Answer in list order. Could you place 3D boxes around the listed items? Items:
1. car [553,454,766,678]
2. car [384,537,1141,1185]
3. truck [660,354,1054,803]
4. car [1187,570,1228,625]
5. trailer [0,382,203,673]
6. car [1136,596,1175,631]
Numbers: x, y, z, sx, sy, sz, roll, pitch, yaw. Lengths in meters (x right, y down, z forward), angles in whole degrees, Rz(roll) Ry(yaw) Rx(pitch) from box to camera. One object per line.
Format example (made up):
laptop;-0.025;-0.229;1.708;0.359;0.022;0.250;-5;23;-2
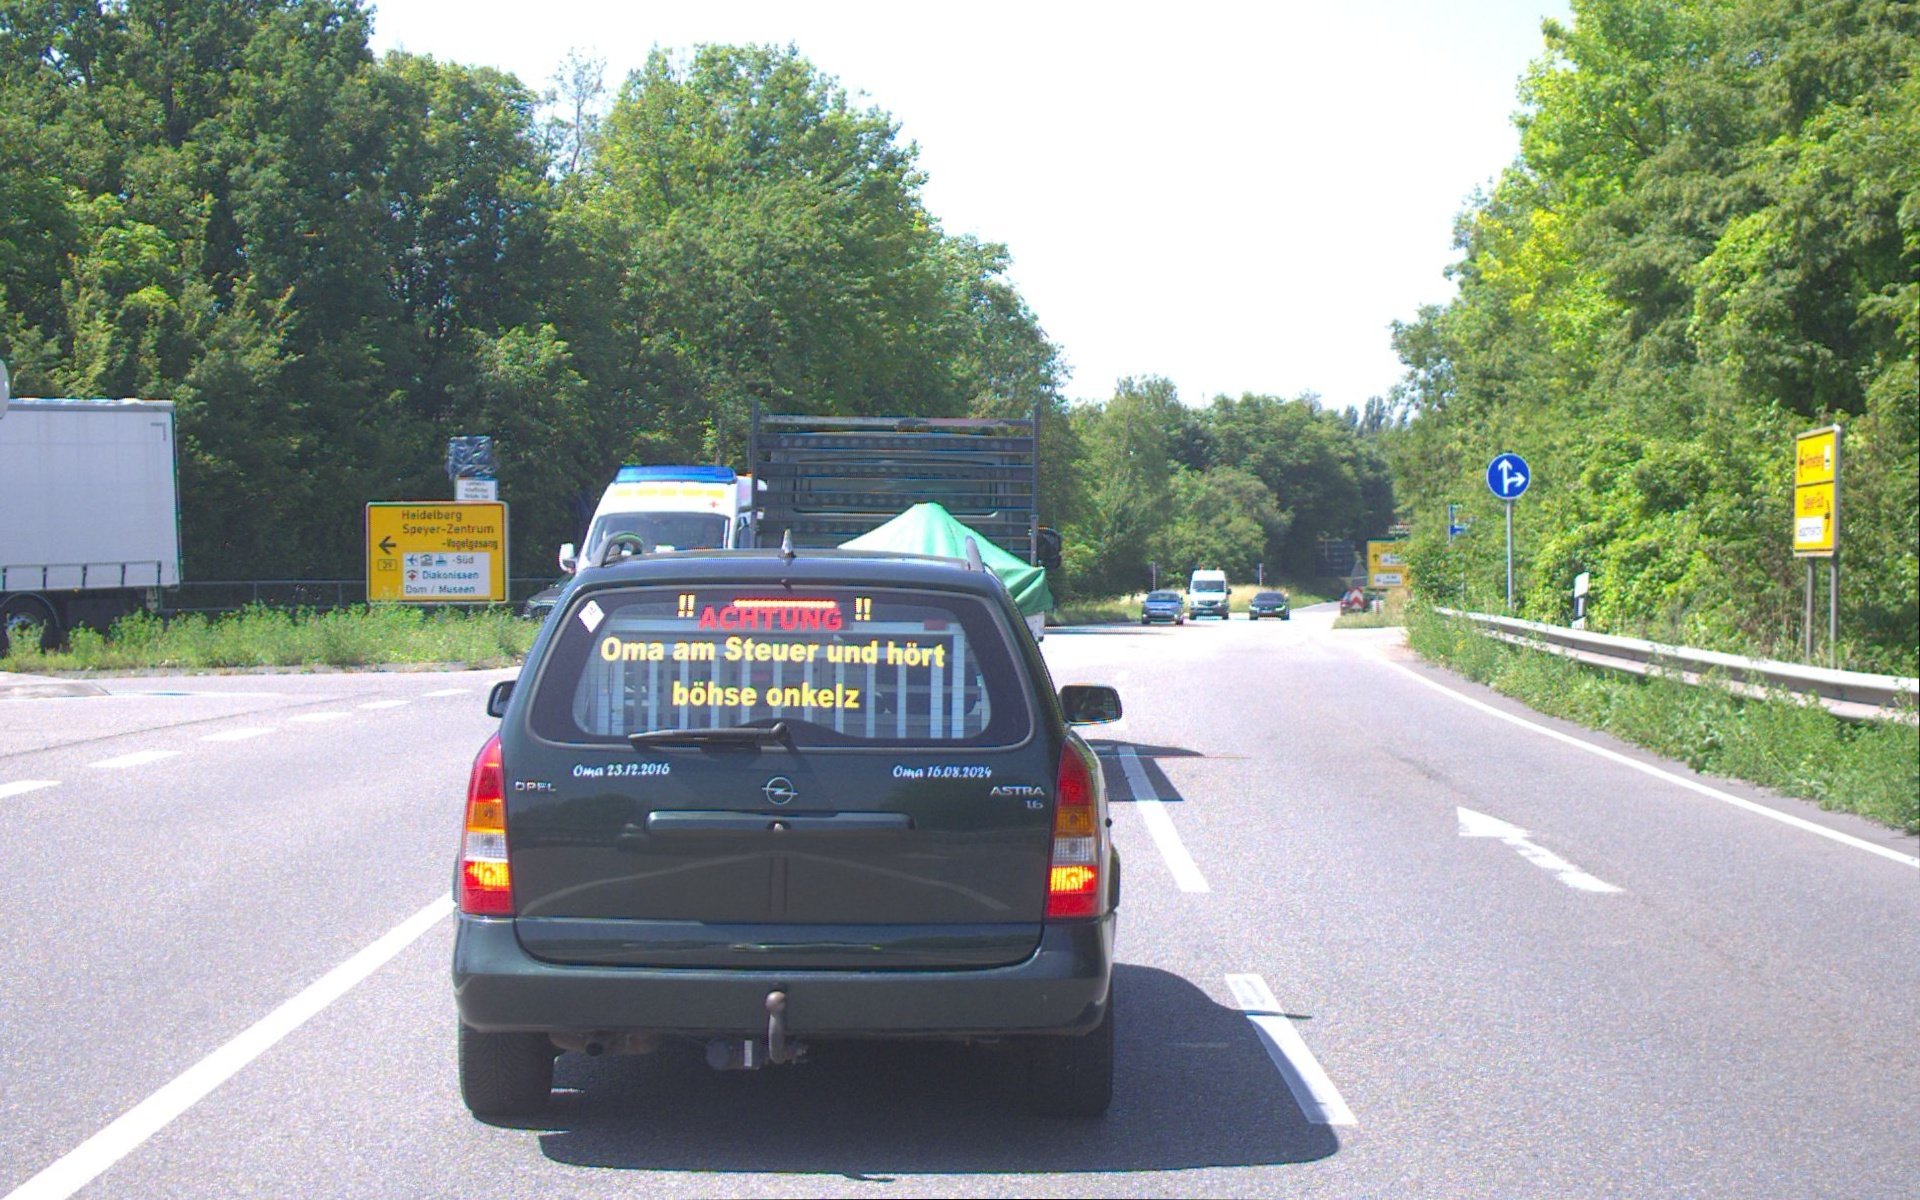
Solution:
car;-3.362;-0.419;39.397;1.990;2.360;5.182;1;1;0
car;-0.436;0.565;9.783;1.720;1.452;3.797;1;1;1
truck;-0.505;-0.181;23.077;2.139;2.556;6.639;1;1;3
car;12.954;-0.158;180.183;2.105;2.840;6.011;1;1;4
trailer;-17.202;-1.009;48.825;2.996;4.260;13.760;2;3;39
car;8.465;0.575;148.745;1.644;1.414;3.766;1;1;3
